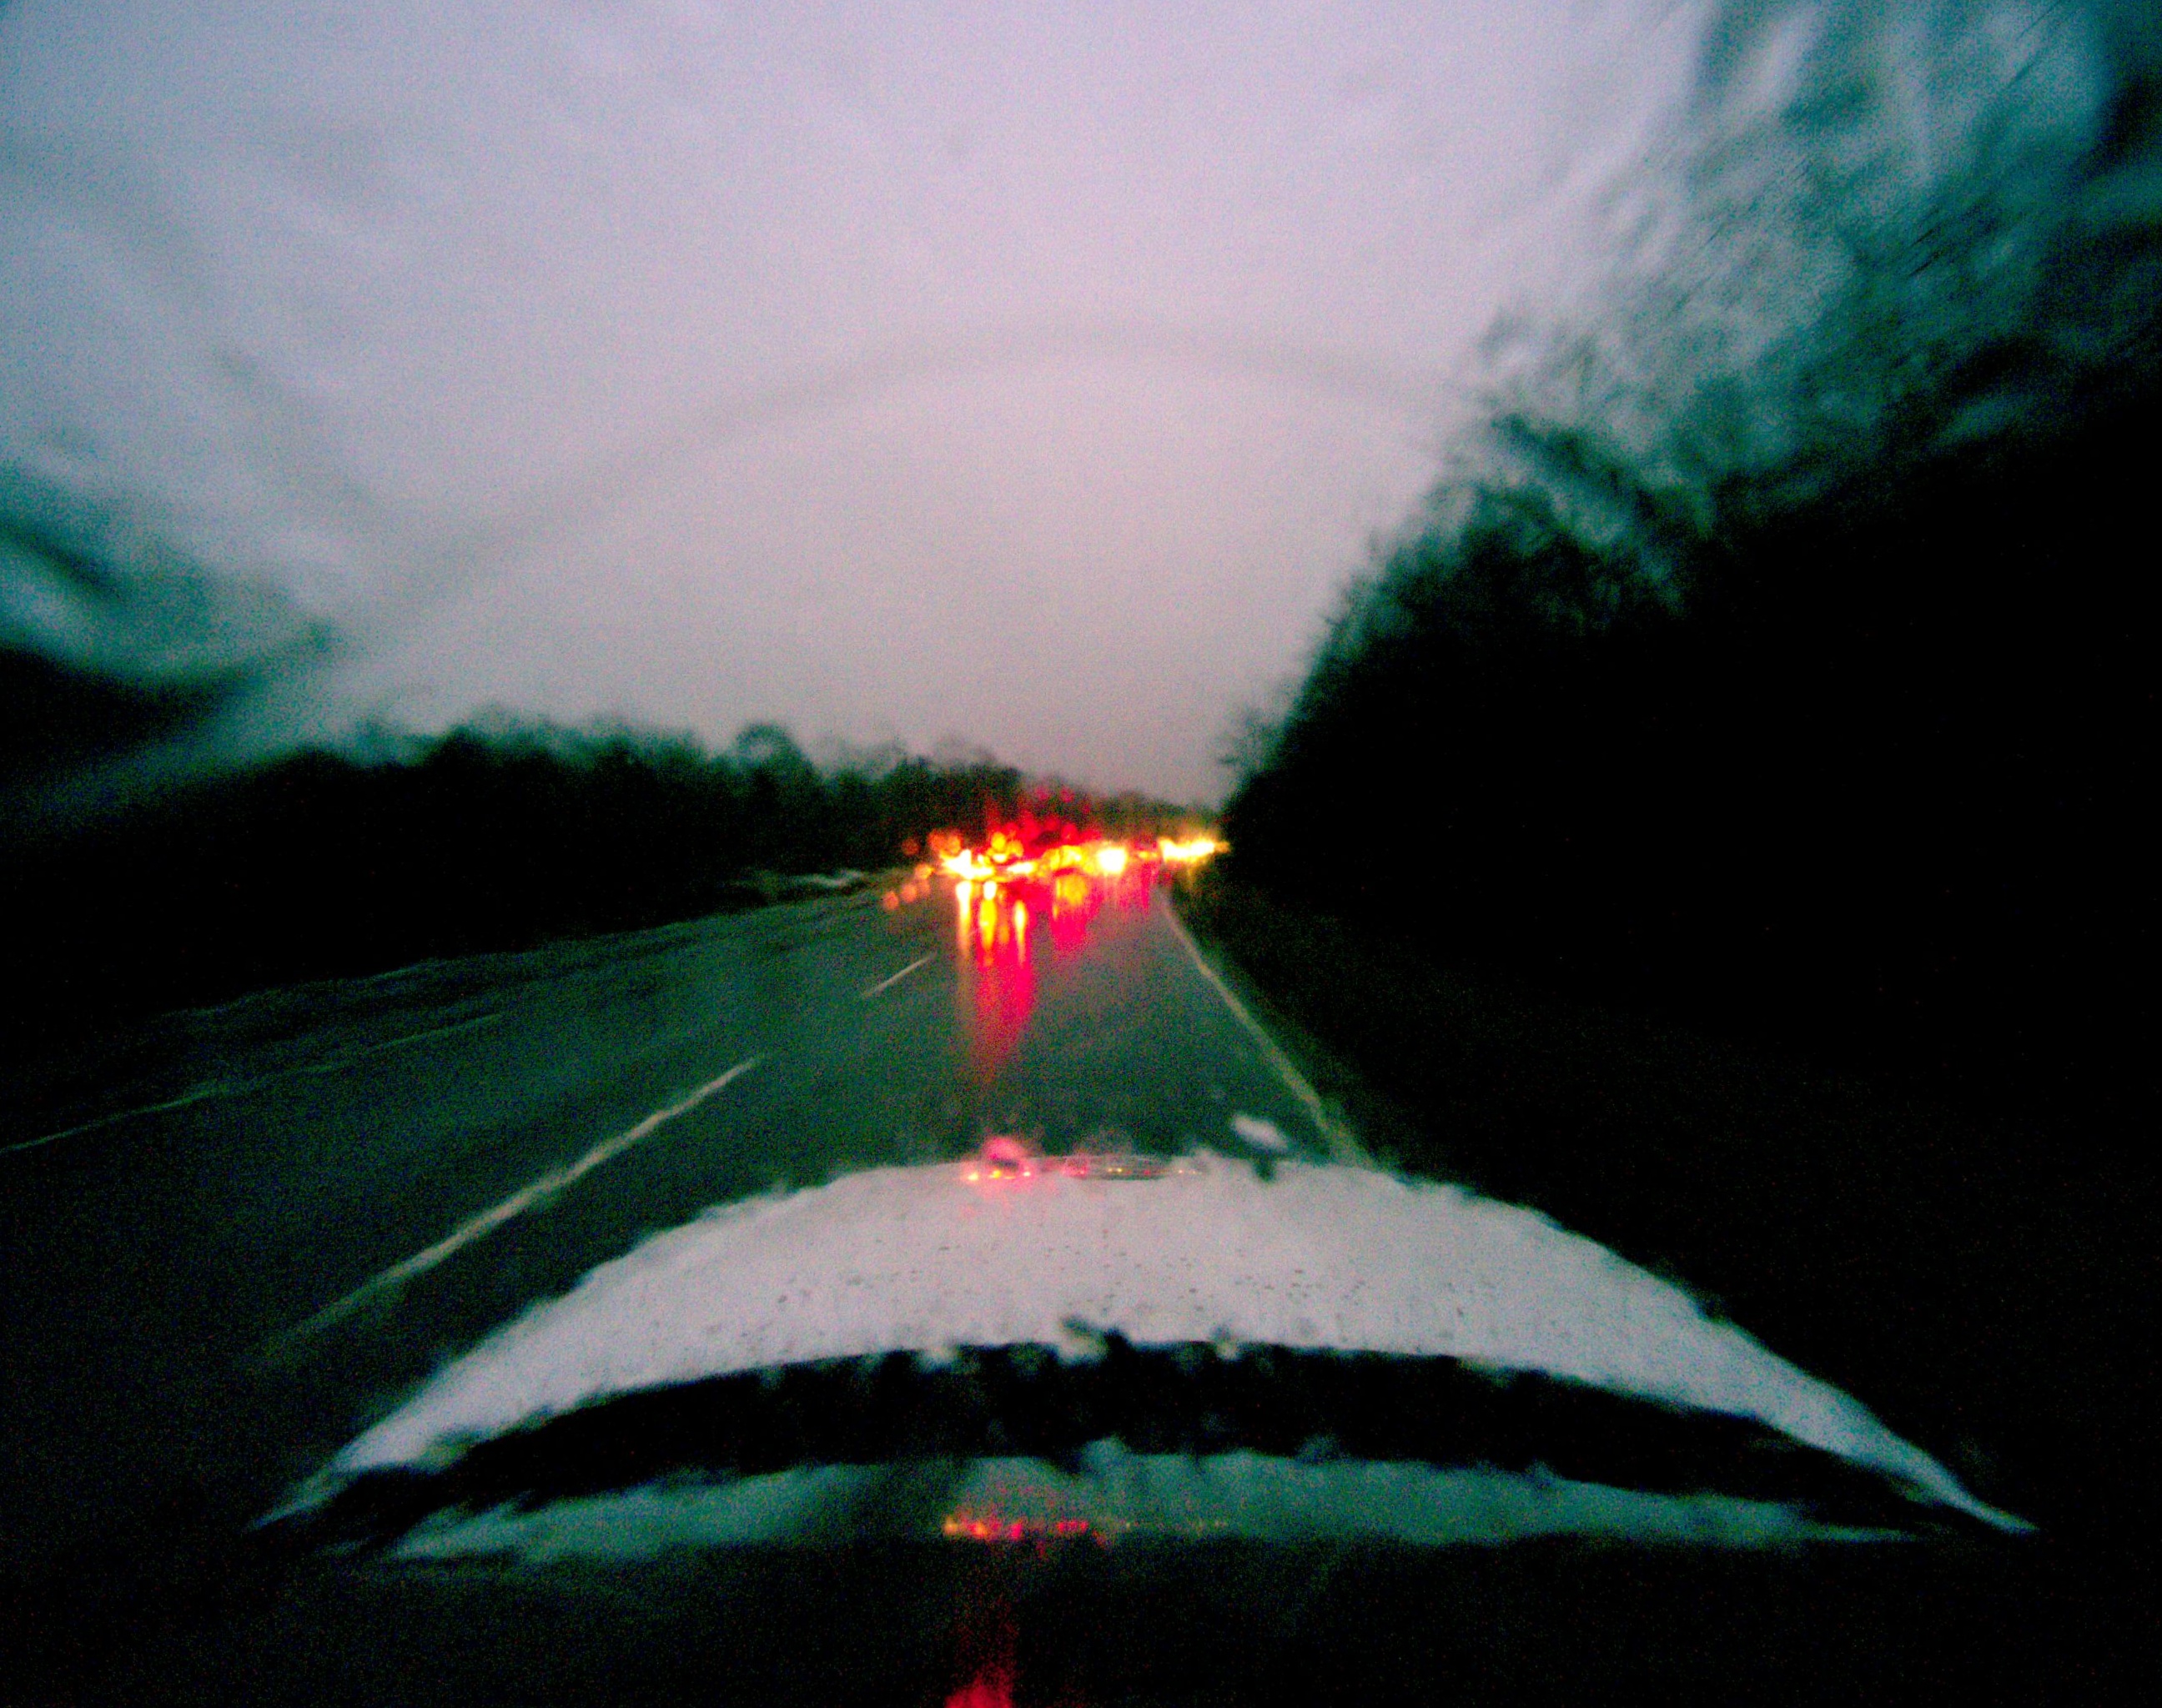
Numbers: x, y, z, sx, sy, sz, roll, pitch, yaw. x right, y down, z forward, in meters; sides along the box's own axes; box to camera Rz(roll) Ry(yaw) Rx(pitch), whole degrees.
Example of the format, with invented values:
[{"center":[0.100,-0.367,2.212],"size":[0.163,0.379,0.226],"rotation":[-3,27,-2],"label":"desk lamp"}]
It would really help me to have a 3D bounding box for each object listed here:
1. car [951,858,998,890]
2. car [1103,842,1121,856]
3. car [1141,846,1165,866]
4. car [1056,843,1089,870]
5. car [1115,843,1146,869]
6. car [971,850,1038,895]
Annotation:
[{"center":[-5.558,1.015,42.956],"size":[1.639,1.556,4.384],"rotation":[-1,0,3],"label":"car"},{"center":[3.715,-0.638,97.026],"size":[1.813,1.616,4.582],"rotation":[-1,0,6],"label":"car"},{"center":[6.339,0.151,71.491],"size":[1.668,1.675,4.111],"rotation":[-2,1,11],"label":"car"},{"center":[-0.483,0.122,51.075],"size":[1.705,1.627,4.222],"rotation":[-1,0,3],"label":"car"},{"center":[2.971,0.084,48.403],"size":[1.671,1.389,4.103],"rotation":[-2,1,4],"label":"car"},{"center":[-2.788,0.652,30.770],"size":[1.998,1.556,4.518],"rotation":[-1,0,1],"label":"car"}]
